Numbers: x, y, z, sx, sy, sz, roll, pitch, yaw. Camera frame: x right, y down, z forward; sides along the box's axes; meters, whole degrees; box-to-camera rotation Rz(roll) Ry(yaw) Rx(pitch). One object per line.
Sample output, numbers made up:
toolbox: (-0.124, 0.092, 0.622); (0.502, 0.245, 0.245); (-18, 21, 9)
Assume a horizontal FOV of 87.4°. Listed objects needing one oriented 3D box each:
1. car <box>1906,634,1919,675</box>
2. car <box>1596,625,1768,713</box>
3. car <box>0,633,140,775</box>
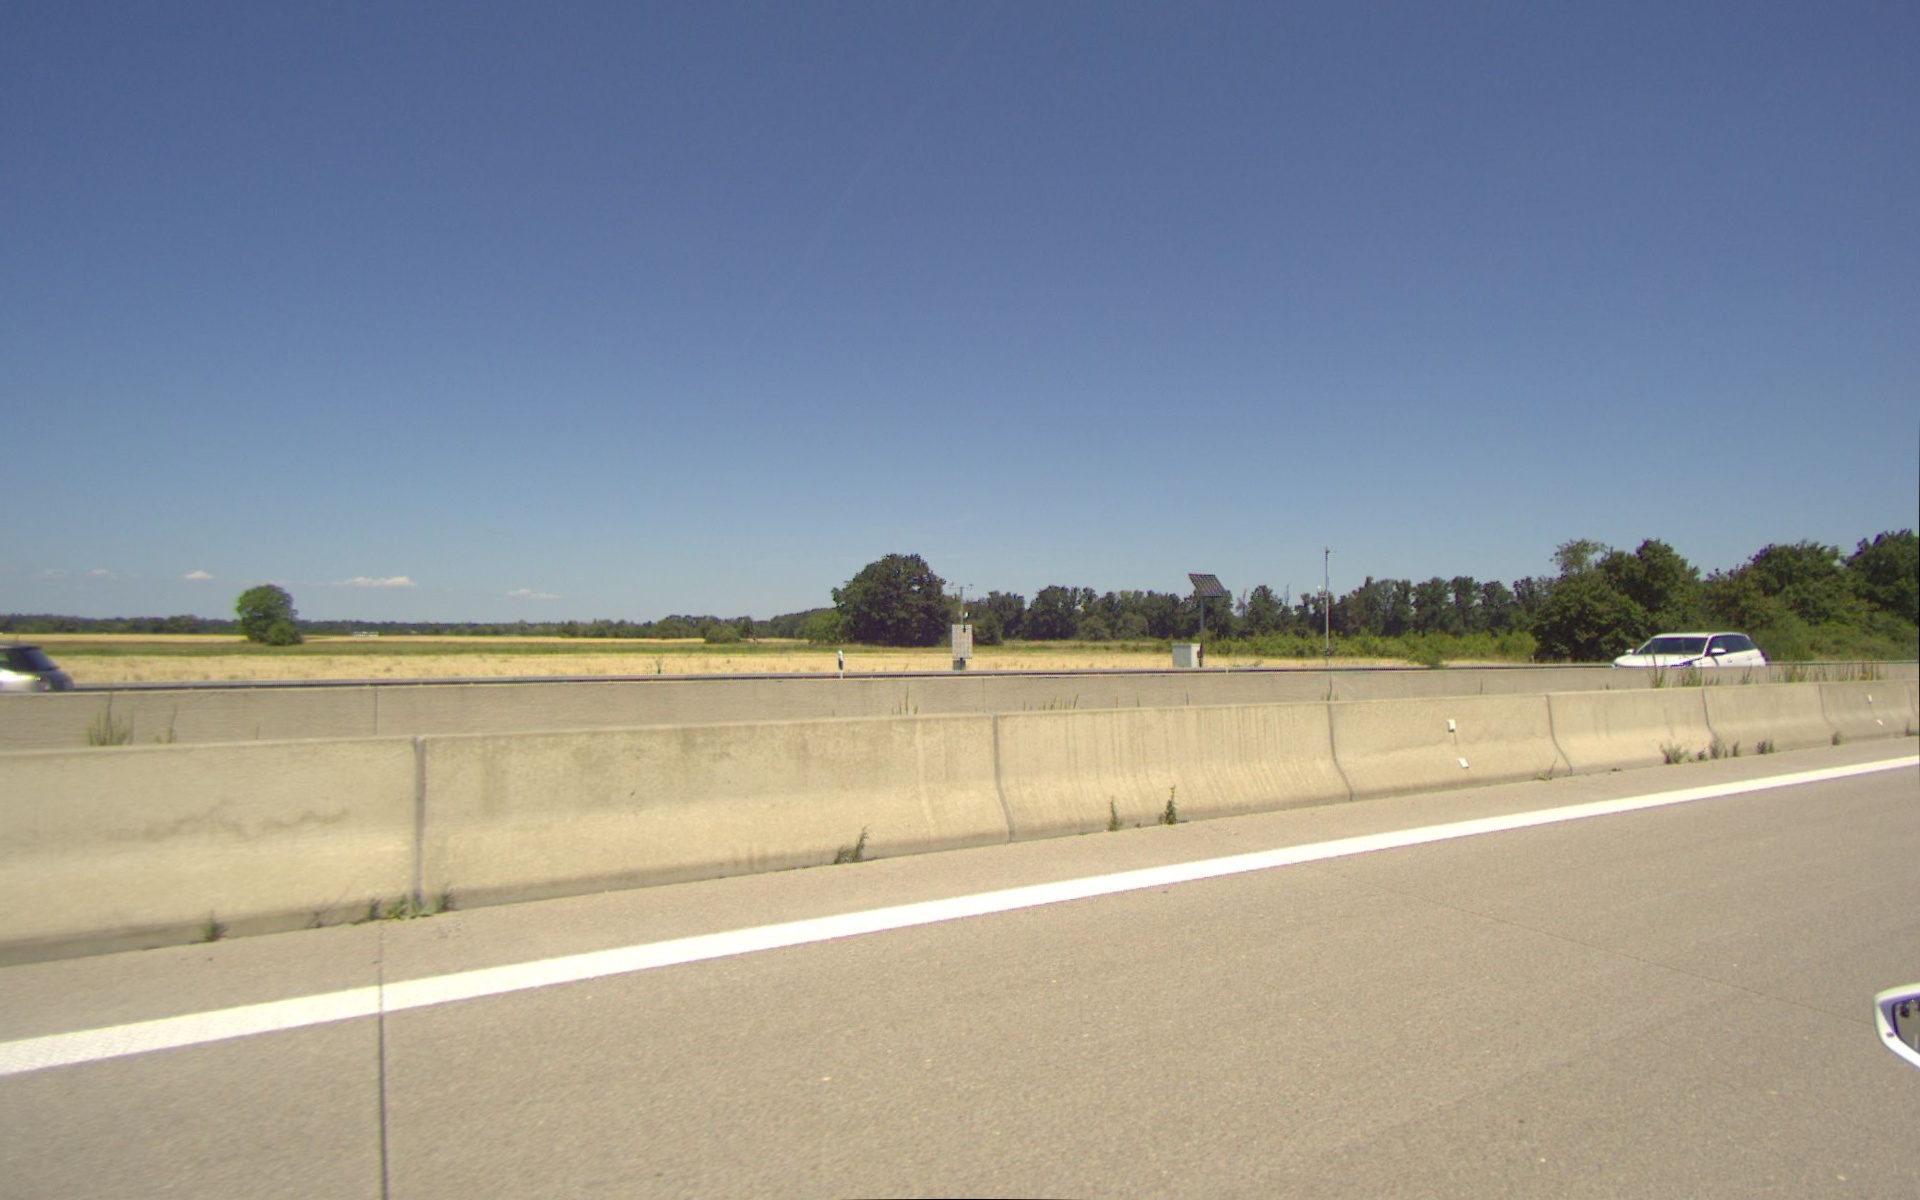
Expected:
car: (46.211, 2.574, 46.887); (4.766, 1.862, 1.981); (2, 0, -34)
car: (17.289, 1.595, 24.026); (3.953, 1.884, 1.897); (1, 0, -30)
car: (-13.916, 1.389, 13.684); (3.955, 1.806, 1.983); (1, 0, -31)
